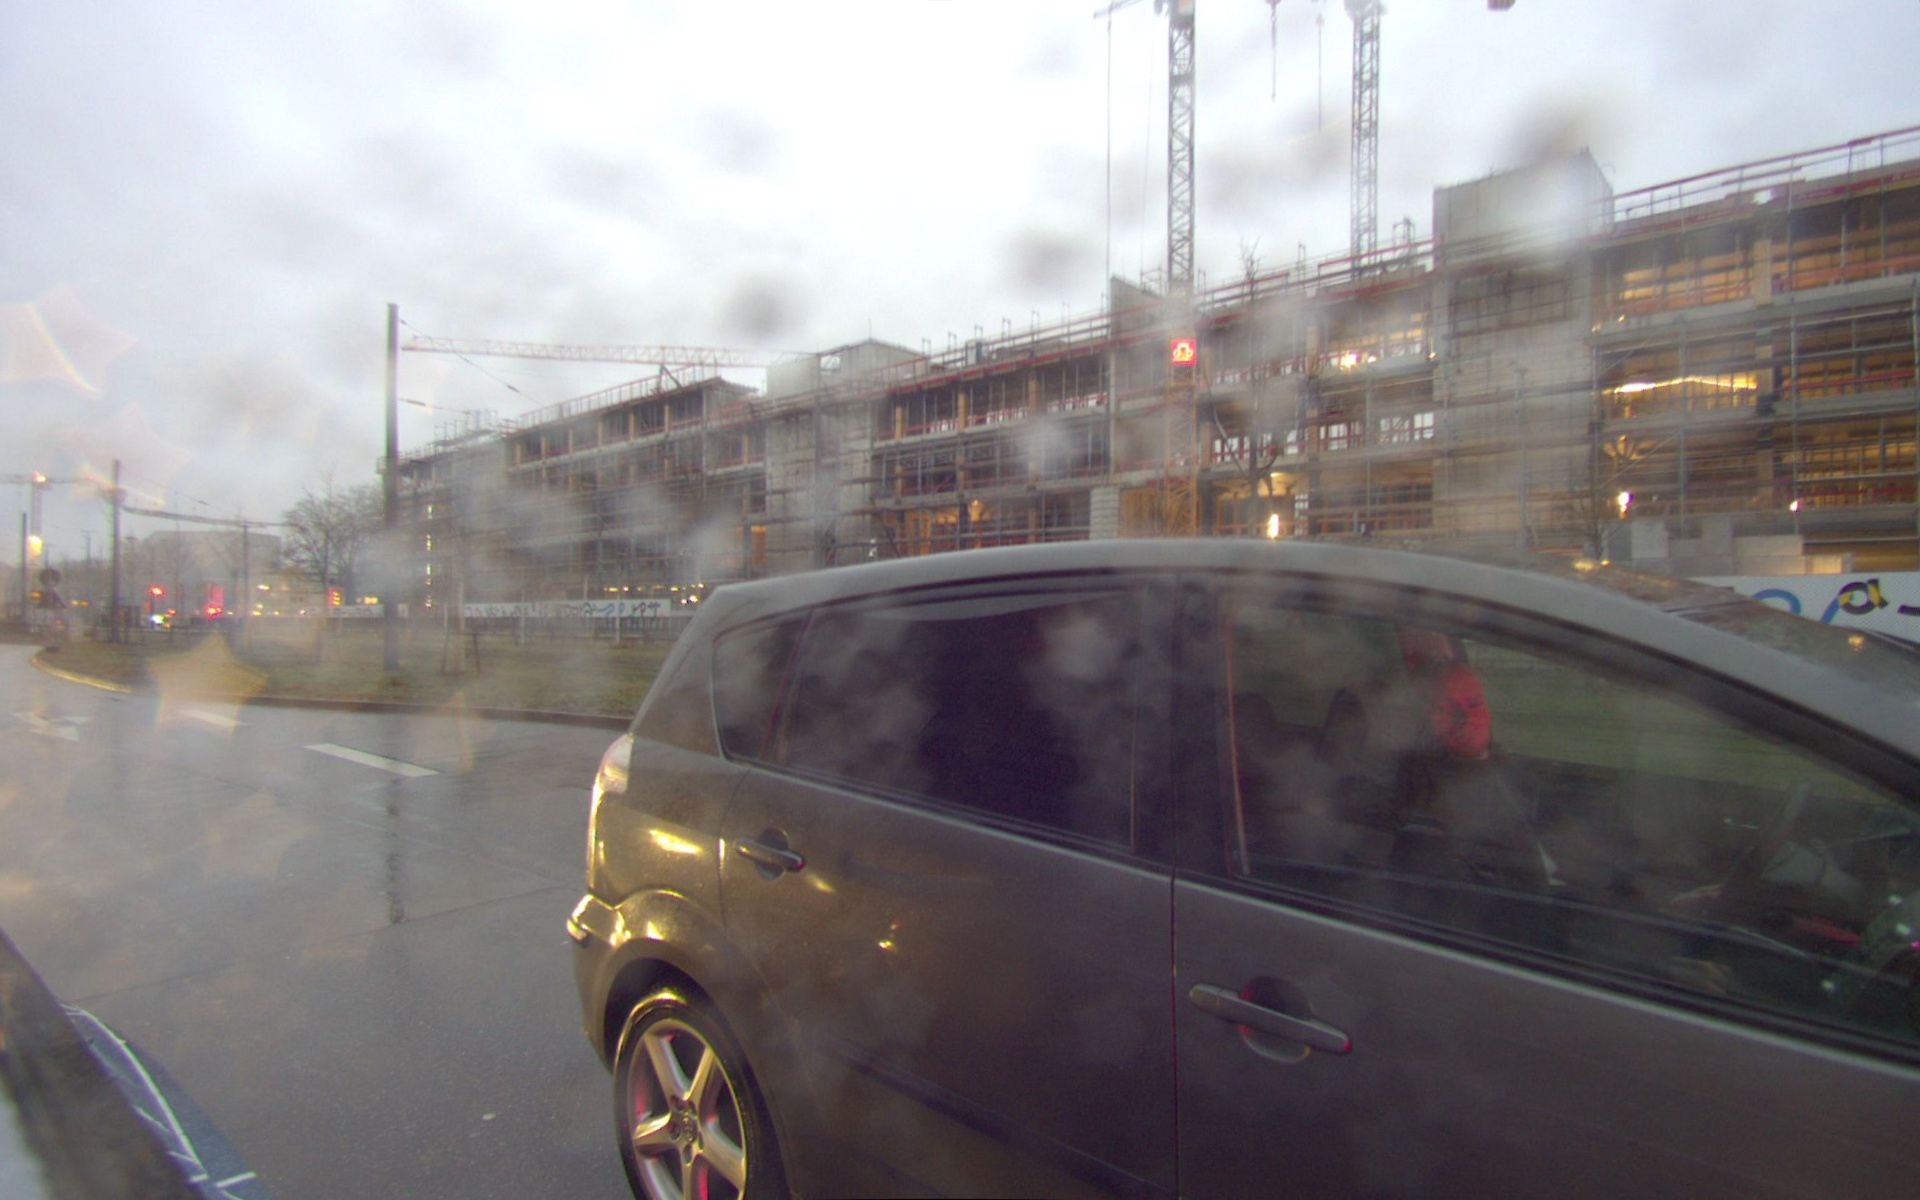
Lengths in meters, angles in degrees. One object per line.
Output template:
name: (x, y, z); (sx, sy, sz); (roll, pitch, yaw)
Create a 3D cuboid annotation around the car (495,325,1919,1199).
car: (1.010, 0.603, 1.878); (4.131, 1.659, 1.793); (-1, -1, 39)
